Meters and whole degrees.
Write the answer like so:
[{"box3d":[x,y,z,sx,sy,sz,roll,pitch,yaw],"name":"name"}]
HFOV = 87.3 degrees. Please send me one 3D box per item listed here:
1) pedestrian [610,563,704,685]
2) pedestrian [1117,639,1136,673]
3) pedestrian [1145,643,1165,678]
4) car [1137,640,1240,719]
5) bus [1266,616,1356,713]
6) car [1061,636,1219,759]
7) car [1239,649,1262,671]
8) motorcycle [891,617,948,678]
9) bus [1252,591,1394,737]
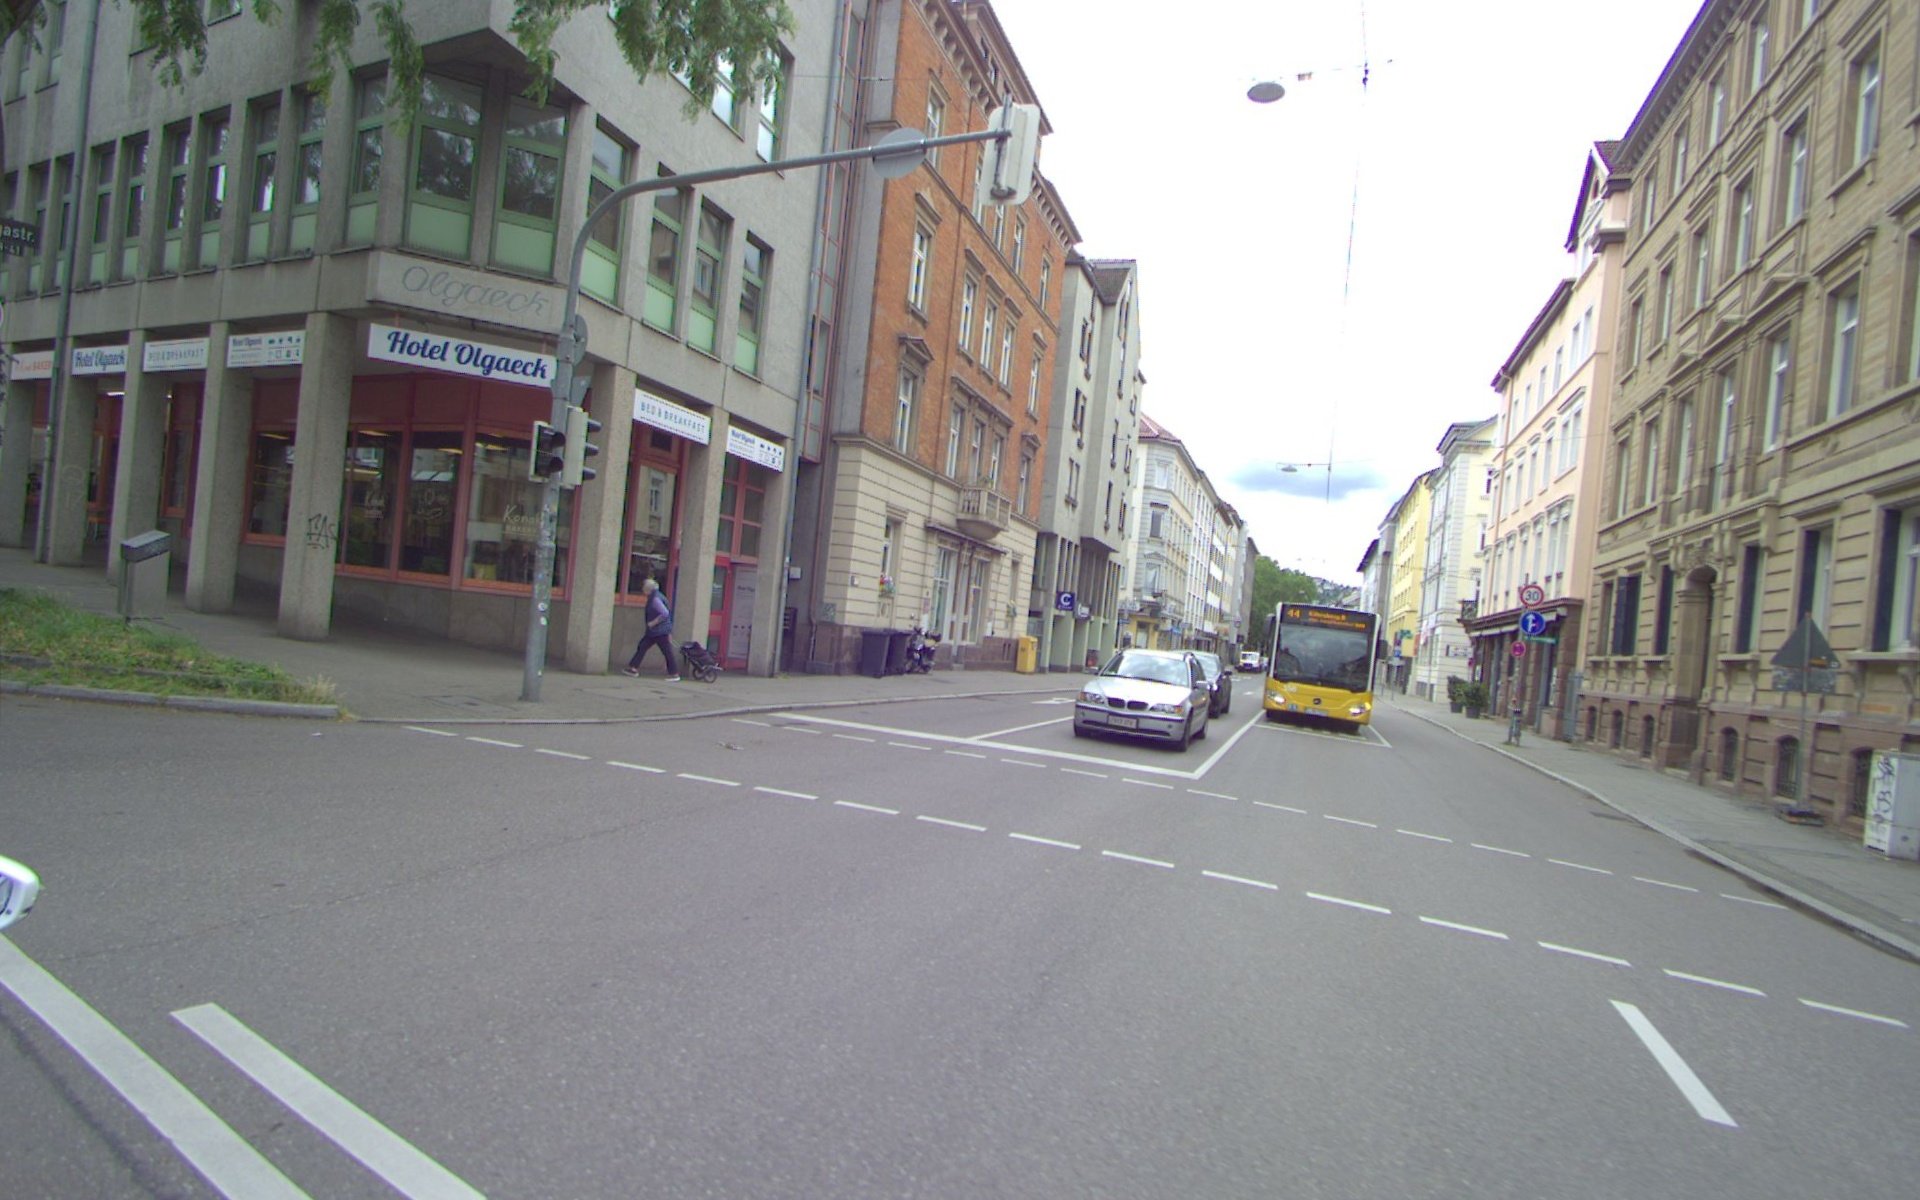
[{"box3d":[-4.758,0.367,15.769,1.112,1.733,0.851,7,0,-26],"name":"pedestrian"},{"box3d":[8.931,3.030,53.942,0.712,1.714,0.680,7,-2,22],"name":"pedestrian"},{"box3d":[10.190,3.150,52.480,0.712,1.716,0.679,7,0,22],"name":"pedestrian"},{"box3d":[5.706,1.904,24.726,1.962,1.507,4.272,7,-1,18],"name":"car"},{"box3d":[14.156,2.621,41.013,2.665,3.073,11.361,7,-1,18],"name":"bus"},{"box3d":[3.006,1.469,16.051,1.819,1.445,4.164,7,-1,18],"name":"car"},{"box3d":[30.306,6.270,104.826,1.962,2.037,4.002,7,-1,18],"name":"car"},{"box3d":[-1.004,1.175,25.620,1.131,1.312,2.659,7,-1,1],"name":"motorcycle"},{"box3d":[10.410,1.840,29.360,2.821,3.079,11.598,7,-1,19],"name":"bus"}]
